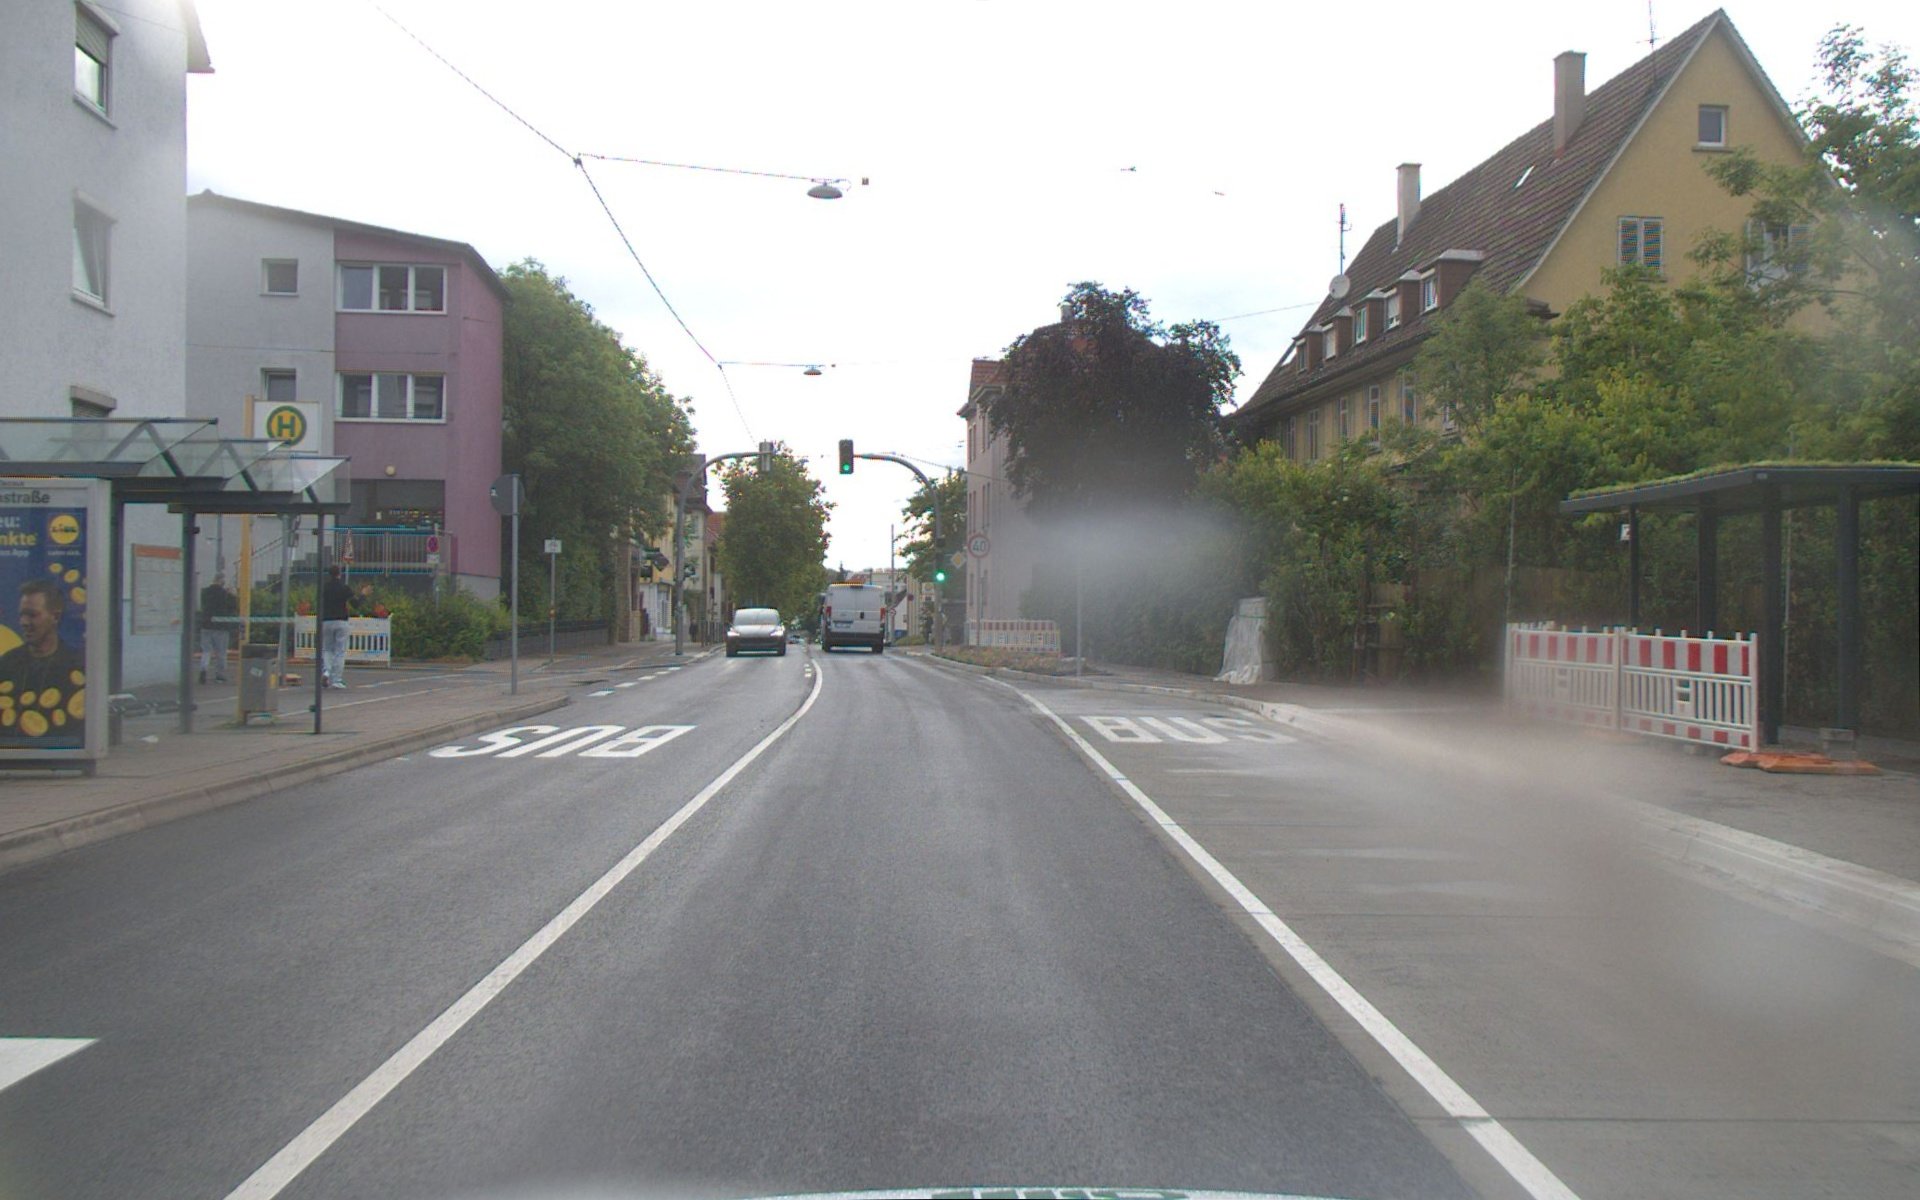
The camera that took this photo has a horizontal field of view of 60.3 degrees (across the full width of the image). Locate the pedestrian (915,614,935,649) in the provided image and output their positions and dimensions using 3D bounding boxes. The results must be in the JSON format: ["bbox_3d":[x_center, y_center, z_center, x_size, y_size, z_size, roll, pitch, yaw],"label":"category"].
[{"bbox_3d":[-1.731,1.576,82.630,0.630,1.740,0.738,-1,-2,-39],"label":"pedestrian"}]

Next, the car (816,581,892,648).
[{"bbox_3d":[-3.713,0.522,57.005,2.302,2.198,4.769,0,-1,-8],"label":"car"}]

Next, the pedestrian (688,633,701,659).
[{"bbox_3d":[-18.165,3.168,113.304,0.800,1.709,0.991,2,-3,-8],"label":"pedestrian"}]

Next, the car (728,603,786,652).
[{"bbox_3d":[-6.374,0.836,51.966,1.749,1.478,4.383,0,0,-7],"label":"car"}]

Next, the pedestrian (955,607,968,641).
[{"bbox_3d":[0.081,1.359,92.656,0.633,1.864,0.742,-1,-2,8],"label":"pedestrian"}]

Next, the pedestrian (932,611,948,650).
[{"bbox_3d":[-1.004,1.542,83.398,0.477,1.908,0.632,-3,-1,26],"label":"pedestrian"}]

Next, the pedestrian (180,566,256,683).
[{"bbox_3d":[-12.112,0.385,27.020,0.790,1.853,1.115,1,0,-6],"label":"pedestrian"}]

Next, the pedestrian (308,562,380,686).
[{"bbox_3d":[-9.728,0.371,26.160,0.845,1.915,1.042,0,0,-7],"label":"pedestrian"}]
